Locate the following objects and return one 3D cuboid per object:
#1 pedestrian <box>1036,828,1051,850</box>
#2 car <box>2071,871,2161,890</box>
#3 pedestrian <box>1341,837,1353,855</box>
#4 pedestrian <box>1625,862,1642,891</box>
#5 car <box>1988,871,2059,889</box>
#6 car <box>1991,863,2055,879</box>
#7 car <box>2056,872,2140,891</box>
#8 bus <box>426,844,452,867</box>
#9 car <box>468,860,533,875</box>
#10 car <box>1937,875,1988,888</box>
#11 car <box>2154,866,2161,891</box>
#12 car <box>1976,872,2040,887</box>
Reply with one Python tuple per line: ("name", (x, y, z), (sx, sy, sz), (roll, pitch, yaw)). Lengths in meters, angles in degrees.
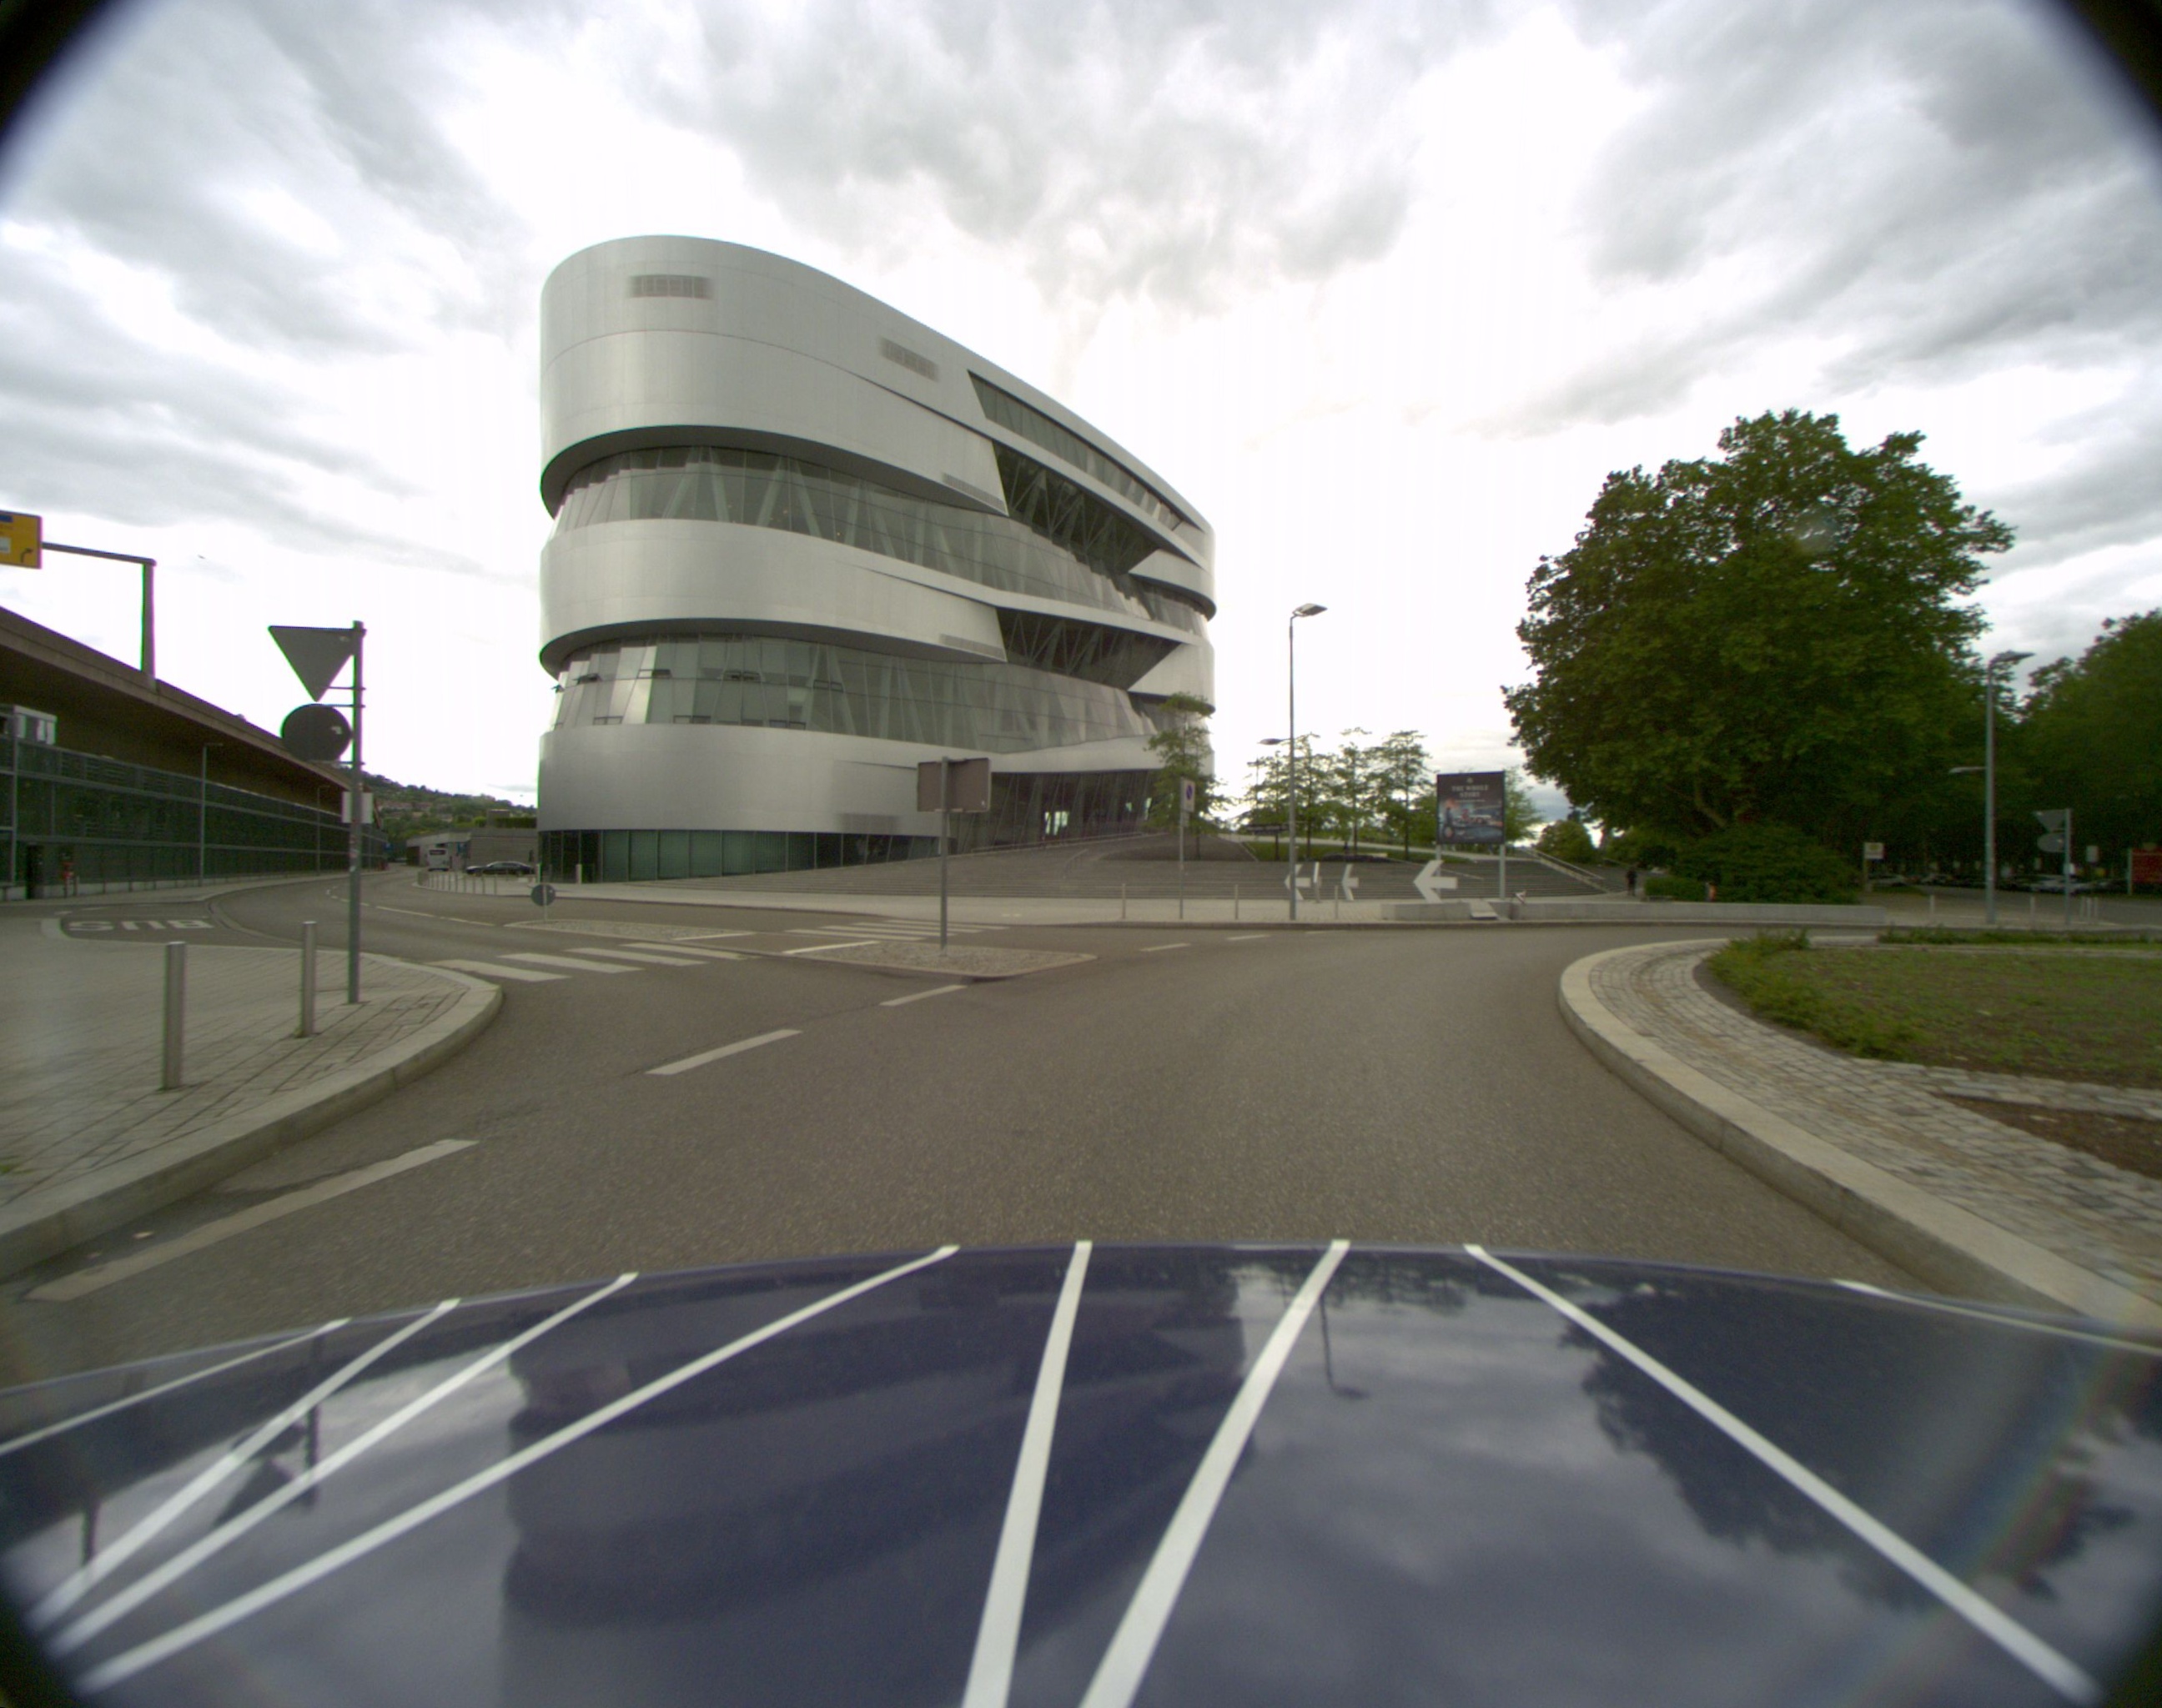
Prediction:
("pedestrian", (-3.419, -1.395, 69.282), (0.850, 1.914, 0.954), (-1, 3, 44))
("car", (83.389, 2.138, 61.281), (1.876, 1.509, 4.165), (2, -2, -42))
("pedestrian", (20.917, -0.620, 59.851), (0.790, 1.379, 0.683), (0, -1, 10))
("pedestrian", (33.380, 1.361, 45.909), (0.595, 1.751, 0.555), (0, -1, -5))
("car", (86.684, 2.358, 69.954), (1.872, 1.600, 3.996), (2, -2, -42))
("car", (96.711, 1.722, 78.093), (1.876, 1.509, 3.996), (0, 0, -42))
("car", (84.705, 2.271, 63.380), (1.876, 1.509, 3.996), (2, -2, -42))
("bus", (-100.724, 0.319, 119.329), (2.938, 3.420, 6.949), (1, -2, -39))
("car", (-56.078, 1.309, 73.497), (4.917, 1.389, 1.531), (1, -2, -35))
("car", (107.740, 3.327, 92.937), (1.876, 1.509, 3.996), (2, -2, -42))
("car", (80.385, 1.758, 54.481), (3.701, 1.767, 1.674), (-1, -2, 41))
("car", (93.674, 2.568, 76.873), (1.876, 1.509, 3.996), (2, -2, -42))
